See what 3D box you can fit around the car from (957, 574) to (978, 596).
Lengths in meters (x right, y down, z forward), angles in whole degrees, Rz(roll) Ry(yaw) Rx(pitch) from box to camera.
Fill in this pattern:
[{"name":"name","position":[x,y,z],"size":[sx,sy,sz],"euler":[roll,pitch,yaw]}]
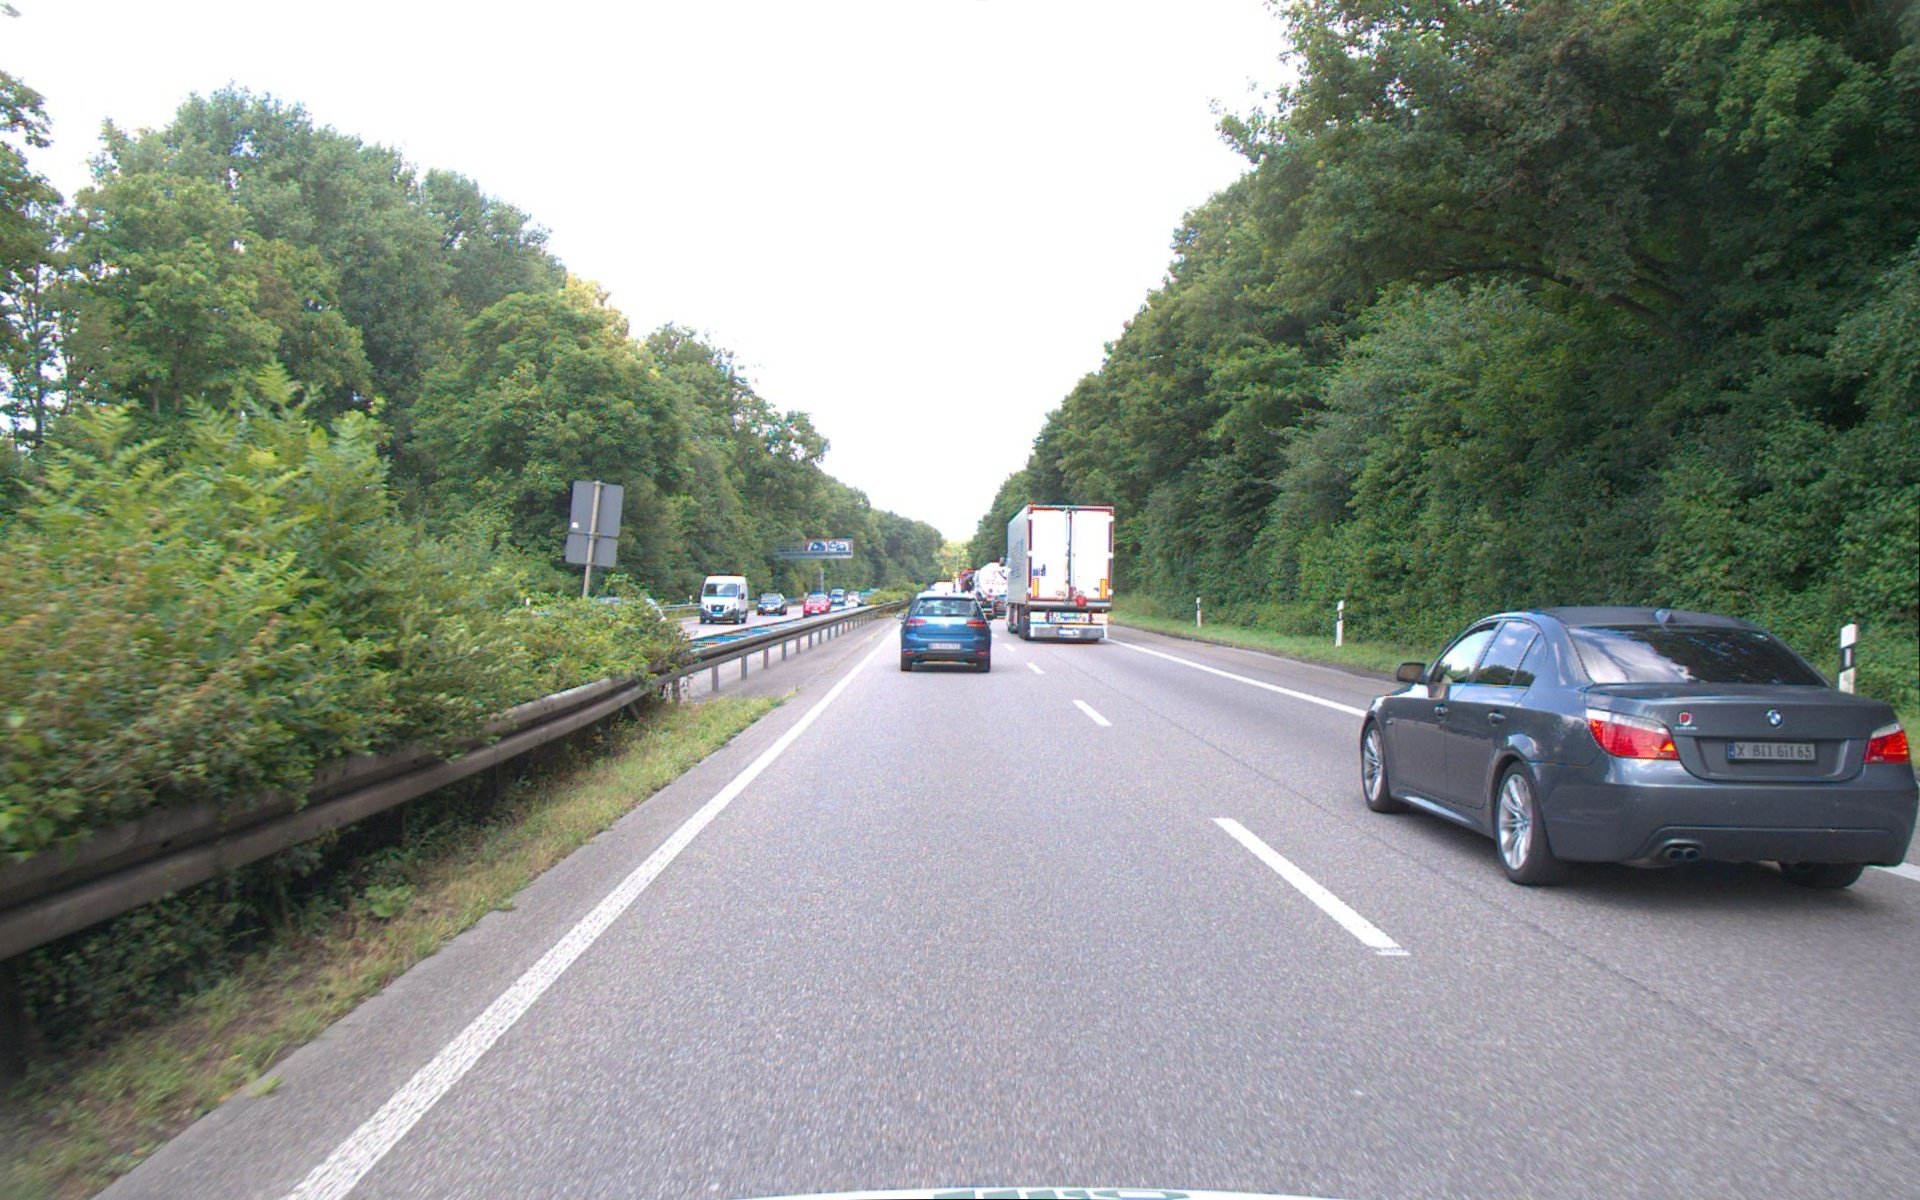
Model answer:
[{"name":"car","position":[0.800,-1.627,179.358],"size":[1.954,2.368,4.439],"euler":[-1,1,-3]}]

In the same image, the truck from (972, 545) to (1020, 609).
[{"name":"truck","position":[2.538,-1.568,121.240],"size":[3.166,4.463,12.969],"euler":[0,0,0]}]

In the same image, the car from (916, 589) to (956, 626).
[{"name":"car","position":[-1.002,0.298,70.602],"size":[1.631,1.526,4.151],"euler":[0,0,0]}]

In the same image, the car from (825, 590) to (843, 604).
[{"name":"car","position":[-14.352,-0.360,188.157],"size":[1.724,1.620,4.632],"euler":[0,0,-1]}]

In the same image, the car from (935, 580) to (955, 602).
[{"name":"car","position":[-1.568,-0.929,171.938],"size":[1.954,2.294,4.439],"euler":[0,0,-3]}]

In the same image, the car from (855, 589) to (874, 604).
[{"name":"car","position":[-9.730,-0.388,169.124],"size":[1.745,1.546,4.265],"euler":[-1,0,-1]}]

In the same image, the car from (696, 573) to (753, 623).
[{"name":"car","position":[-12.311,-0.122,86.818],"size":[2.068,2.465,5.830],"euler":[1,0,0]}]

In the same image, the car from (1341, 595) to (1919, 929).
[{"name":"car","position":[3.789,0.741,10.040],"size":[1.738,1.501,4.879],"euler":[1,0,-1]}]

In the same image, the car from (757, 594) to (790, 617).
[{"name":"car","position":[-13.065,0.365,115.814],"size":[1.749,1.504,4.569],"euler":[1,0,0]}]

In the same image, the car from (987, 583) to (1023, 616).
[{"name":"car","position":[2.497,-0.044,93.173],"size":[1.850,1.759,4.000],"euler":[-1,0,0]}]

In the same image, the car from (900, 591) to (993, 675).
[{"name":"car","position":[-0.288,0.586,32.062],"size":[1.670,1.495,3.999],"euler":[1,0,-1]}]

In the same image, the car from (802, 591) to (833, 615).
[{"name":"car","position":[-9.147,0.193,106.265],"size":[1.644,1.480,4.127],"euler":[1,0,0]}]

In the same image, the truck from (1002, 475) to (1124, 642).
[{"name":"truck","position":[3.125,-1.269,53.409],"size":[3.175,4.798,11.006],"euler":[-1,1,0]}]

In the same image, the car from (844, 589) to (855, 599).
[{"name":"car","position":[-15.903,-0.902,238.343],"size":[1.506,1.421,3.510],"euler":[-1,0,-1]}]
